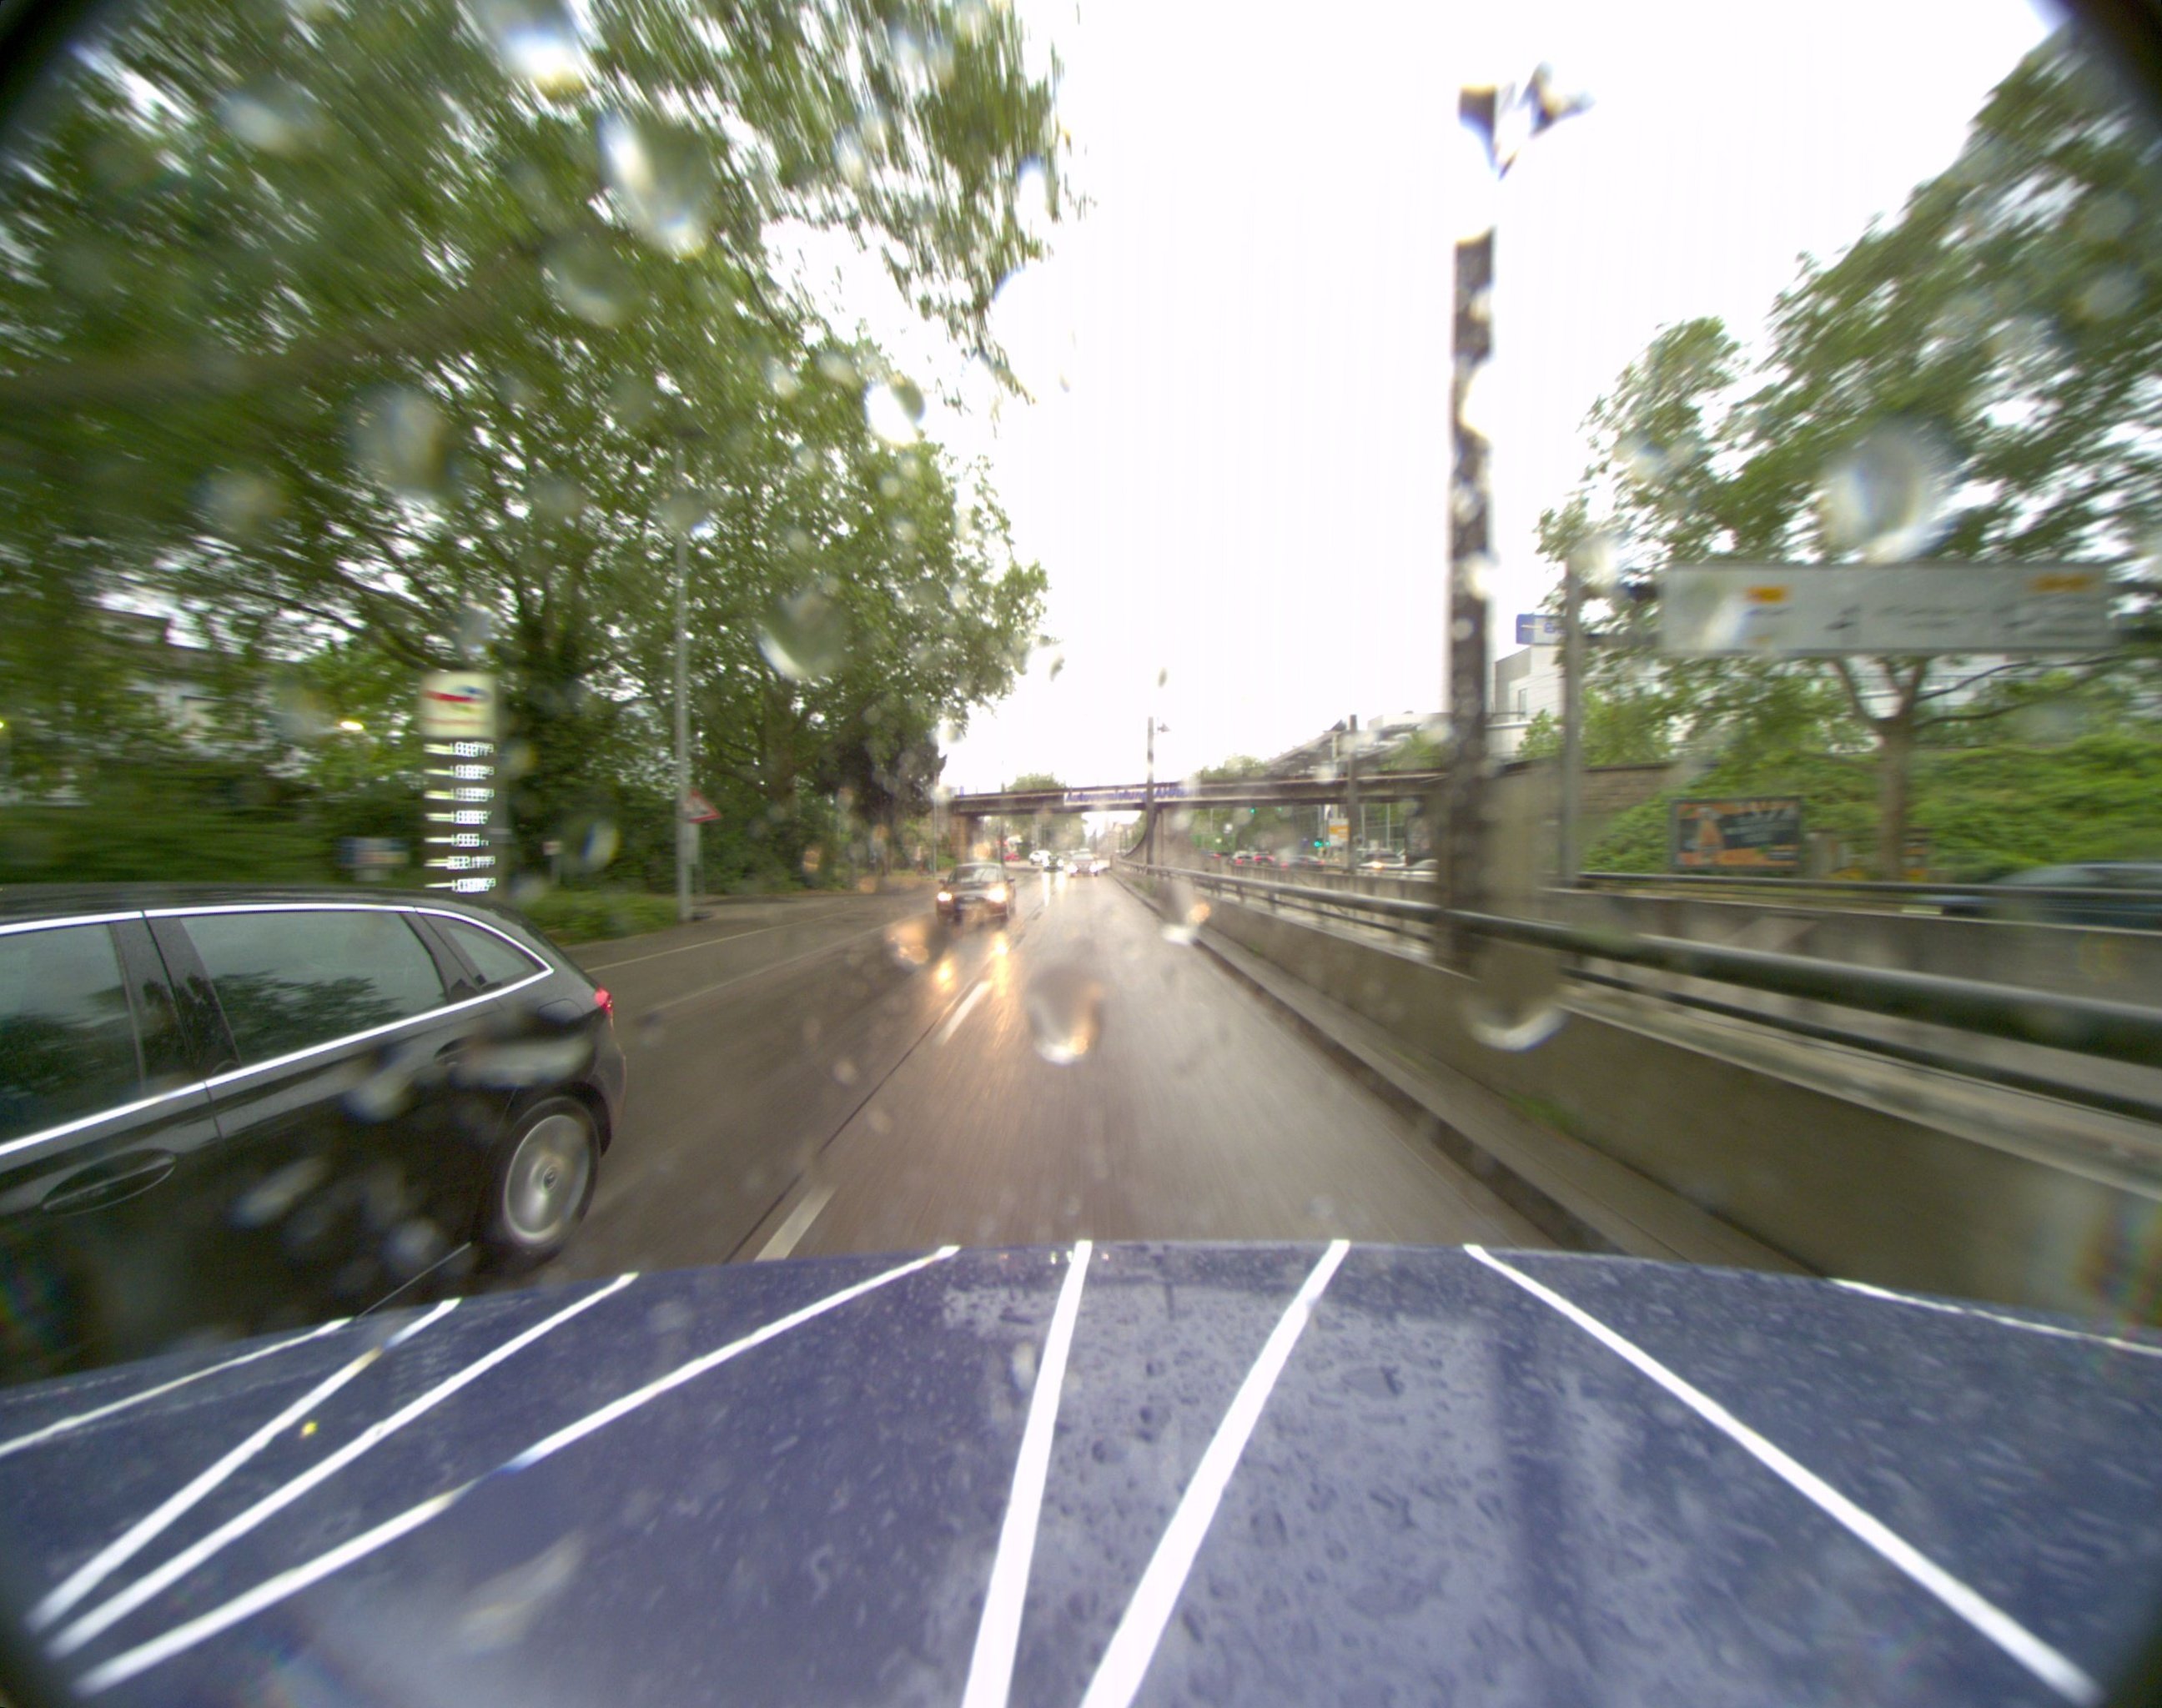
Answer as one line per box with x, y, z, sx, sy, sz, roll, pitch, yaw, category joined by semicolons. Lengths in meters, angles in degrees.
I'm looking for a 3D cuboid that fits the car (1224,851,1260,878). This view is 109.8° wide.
12.859;0.789;60.798;1.998;2.002;4.000;-2;1;0;car

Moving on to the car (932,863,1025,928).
-2.489;0.976;19.318;1.641;1.377;3.782;-1;1;3;car

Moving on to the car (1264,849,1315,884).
12.816;0.707;46.915;1.998;2.002;4.000;-2;1;0;car

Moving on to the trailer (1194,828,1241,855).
17.688;-1.558;99.233;3.331;3.241;11.117;-2;0;-4;trailer

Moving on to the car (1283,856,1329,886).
16.184;1.189;54.859;1.998;2.002;4.510;-2;1;0;car

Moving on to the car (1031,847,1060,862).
-4.325;0.083;92.406;1.873;1.689;4.415;0;0;-27;car

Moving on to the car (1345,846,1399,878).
19.587;0.531;51.254;1.998;2.002;4.196;-2;1;0;car

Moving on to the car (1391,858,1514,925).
12.695;1.207;26.359;1.998;2.002;4.615;-2;0;0;car

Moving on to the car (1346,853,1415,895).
15.615;0.994;39.878;1.998;2.002;4.000;-2;1;0;car

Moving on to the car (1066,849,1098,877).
0.122;0.622;52.603;1.974;1.794;4.159;-1;0;3;car

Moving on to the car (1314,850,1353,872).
21.662;0.587;65.349;1.998;1.780;4.196;-2;0;0;car

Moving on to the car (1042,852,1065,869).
-2.456;0.590;68.005;1.821;1.520;4.159;0;0;1;car

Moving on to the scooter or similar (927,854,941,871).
-10.779;0.606;55.789;0.453;1.152;1.828;-2;1;8;scooter or similar

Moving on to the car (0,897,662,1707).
-2.946;0.989;1.468;1.821;1.521;4.421;-2;0;-1;car

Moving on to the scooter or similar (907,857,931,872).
-11.536;0.742;54.000;0.452;1.004;1.742;-1;1;38;scooter or similar

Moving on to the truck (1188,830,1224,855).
17.234;-1.581;105.255;3.384;3.290;6.521;-2;1;-4;truck

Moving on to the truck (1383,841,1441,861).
35.216;-0.327;80.856;5.248;2.002;2.219;-2;1;35;truck

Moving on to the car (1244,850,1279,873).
16.122;0.655;68.050;1.998;1.918;4.366;-2;0;0;car

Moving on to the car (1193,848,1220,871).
12.819;0.539;77.942;1.998;2.230;4.366;-2;1;0;car

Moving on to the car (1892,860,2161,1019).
15.357;1.149;11.188;1.998;2.002;4.510;-2;1;0;car
